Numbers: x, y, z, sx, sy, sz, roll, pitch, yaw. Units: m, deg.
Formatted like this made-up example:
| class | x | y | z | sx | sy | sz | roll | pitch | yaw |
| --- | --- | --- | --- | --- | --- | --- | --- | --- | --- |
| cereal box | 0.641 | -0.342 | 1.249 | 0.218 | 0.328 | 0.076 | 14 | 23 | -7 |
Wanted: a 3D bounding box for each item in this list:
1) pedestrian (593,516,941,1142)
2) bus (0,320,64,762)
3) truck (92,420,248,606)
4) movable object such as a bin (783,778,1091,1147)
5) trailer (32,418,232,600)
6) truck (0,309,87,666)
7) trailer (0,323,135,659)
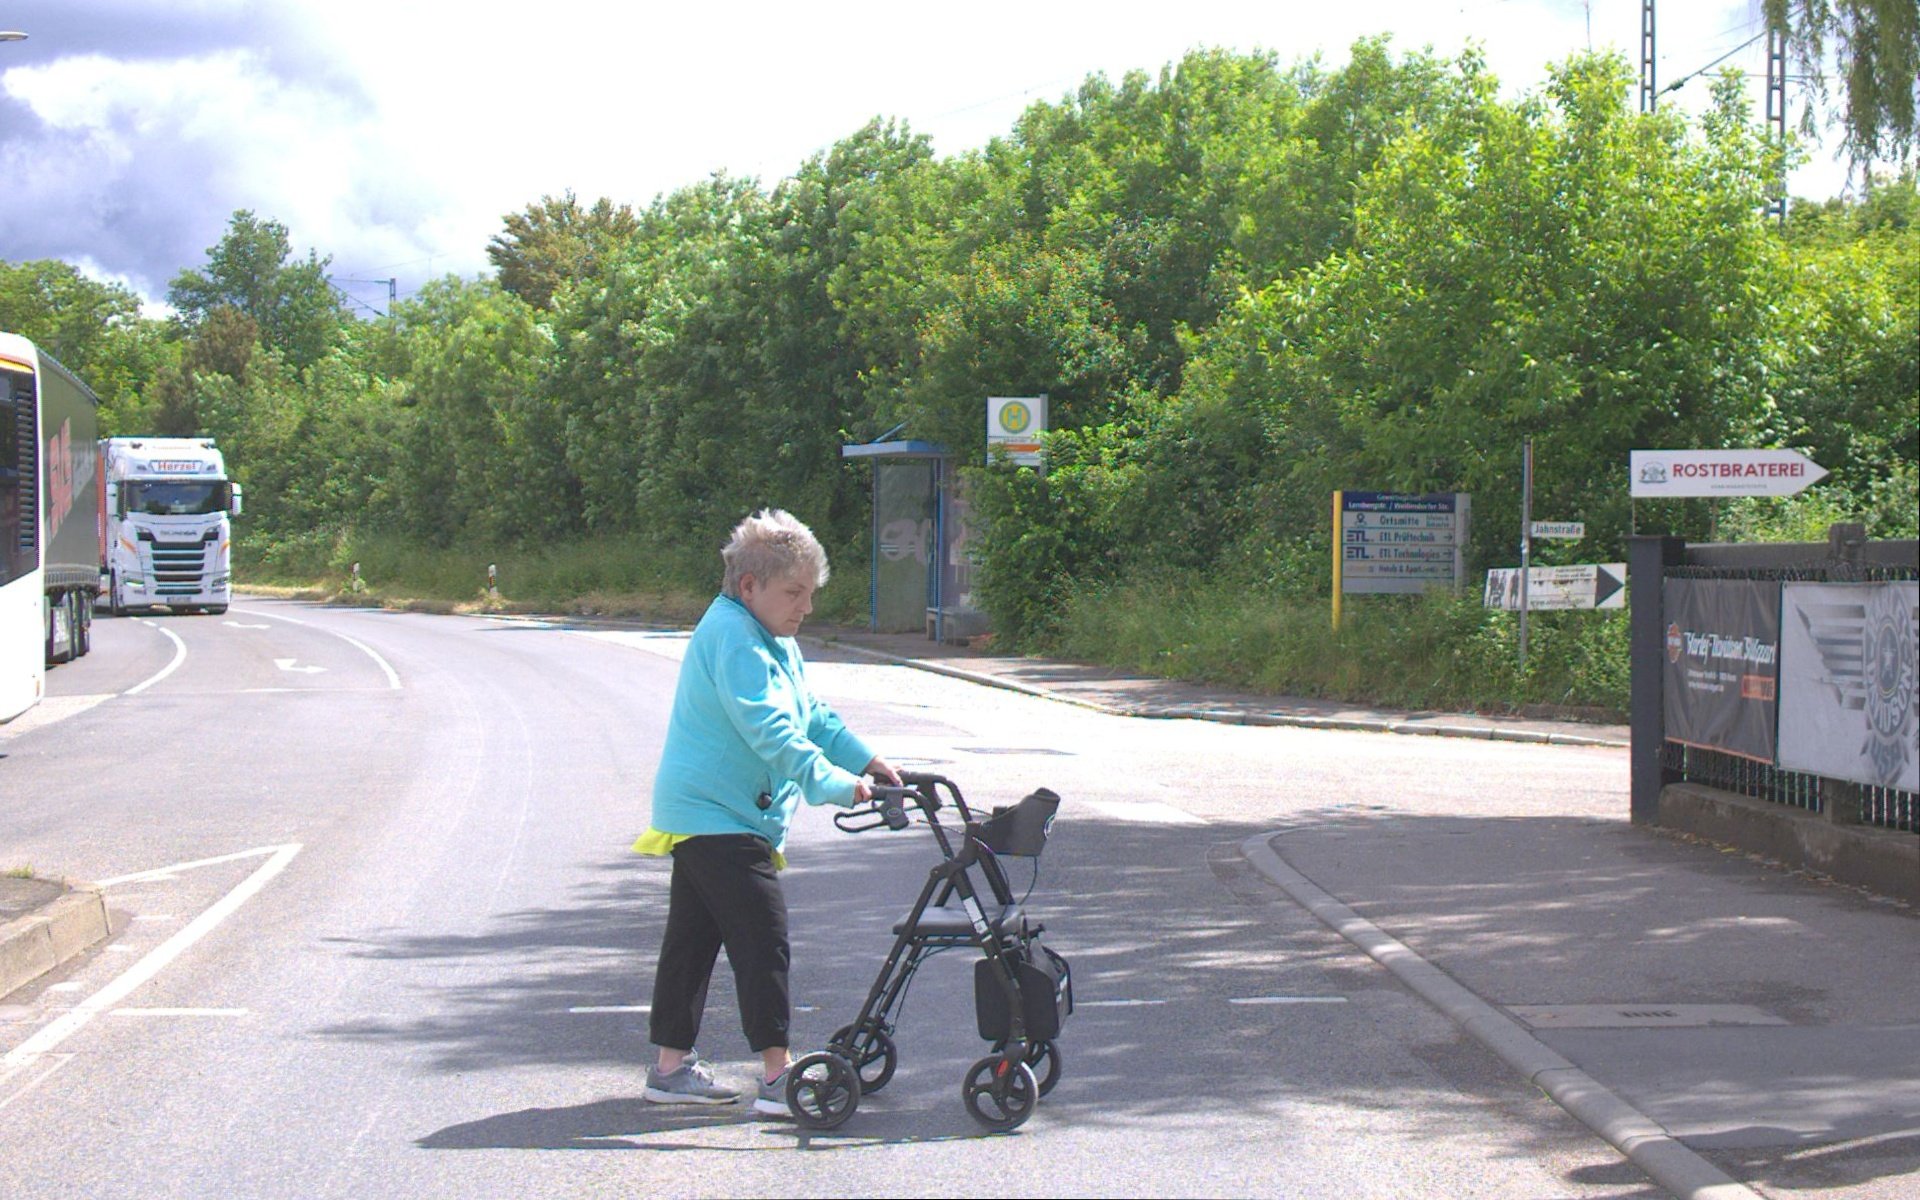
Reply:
| class | x | y | z | sx | sy | sz | roll | pitch | yaw |
| --- | --- | --- | --- | --- | --- | --- | --- | --- | --- |
| pedestrian | -0.498 | 0.564 | 8.840 | 0.838 | 1.538 | 0.734 | 1 | 0 | -4 |
| bus | -7.866 | -0.351 | 19.035 | 2.718 | 3.020 | 12.266 | 0 | 1 | -1 |
| truck | -18.245 | -1.974 | 79.210 | 2.770 | 4.105 | 4.988 | 1 | 1 | -21 |
| movable object such as a bin | -0.073 | 0.917 | 8.863 | 0.746 | 0.868 | 0.671 | 1 | 0 | -4 |
| trailer | -20.886 | -2.184 | 85.913 | 2.770 | 4.130 | 15.355 | 1 | 1 | -21 |
| truck | -12.356 | -1.330 | 41.989 | 2.798 | 4.039 | 6.503 | 1 | 1 | -10 |
| trailer | -13.655 | -1.418 | 48.956 | 2.798 | 4.039 | 15.560 | 1 | 1 | -10 |
